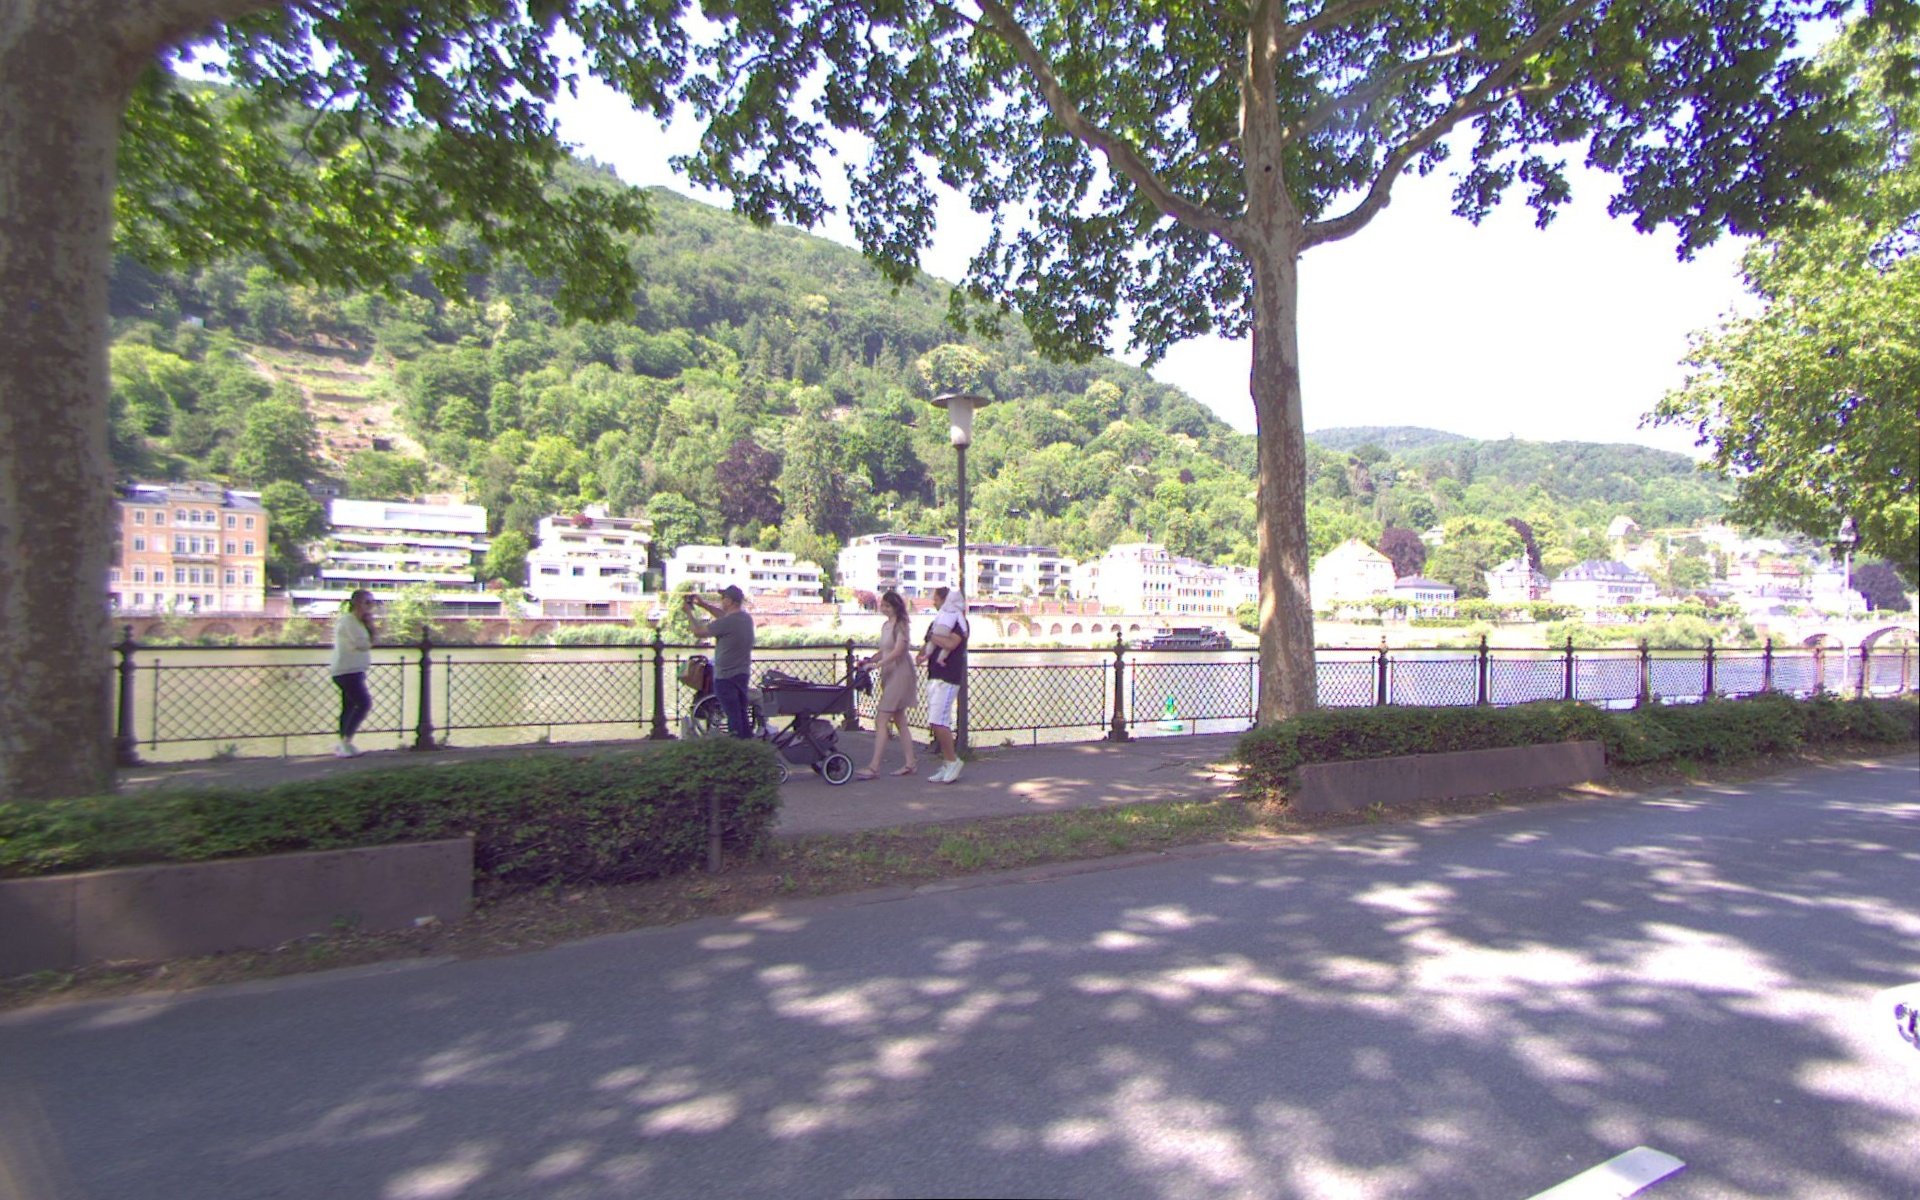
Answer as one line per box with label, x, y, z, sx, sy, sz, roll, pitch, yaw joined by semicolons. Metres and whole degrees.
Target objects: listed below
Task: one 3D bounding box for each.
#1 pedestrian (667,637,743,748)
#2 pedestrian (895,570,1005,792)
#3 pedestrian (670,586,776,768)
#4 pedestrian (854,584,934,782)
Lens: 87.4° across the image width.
pedestrian;-2.851;1.008;11.201;0.687;1.193;0.607;1;-2;-29
pedestrian;-0.094;0.708;9.067;0.796;1.895;0.638;1;-2;-29
pedestrian;-2.393;0.757;10.150;0.864;1.740;0.689;1;-2;-31
pedestrian;-0.622;0.765;9.461;0.585;1.791;0.514;1;-2;-29
